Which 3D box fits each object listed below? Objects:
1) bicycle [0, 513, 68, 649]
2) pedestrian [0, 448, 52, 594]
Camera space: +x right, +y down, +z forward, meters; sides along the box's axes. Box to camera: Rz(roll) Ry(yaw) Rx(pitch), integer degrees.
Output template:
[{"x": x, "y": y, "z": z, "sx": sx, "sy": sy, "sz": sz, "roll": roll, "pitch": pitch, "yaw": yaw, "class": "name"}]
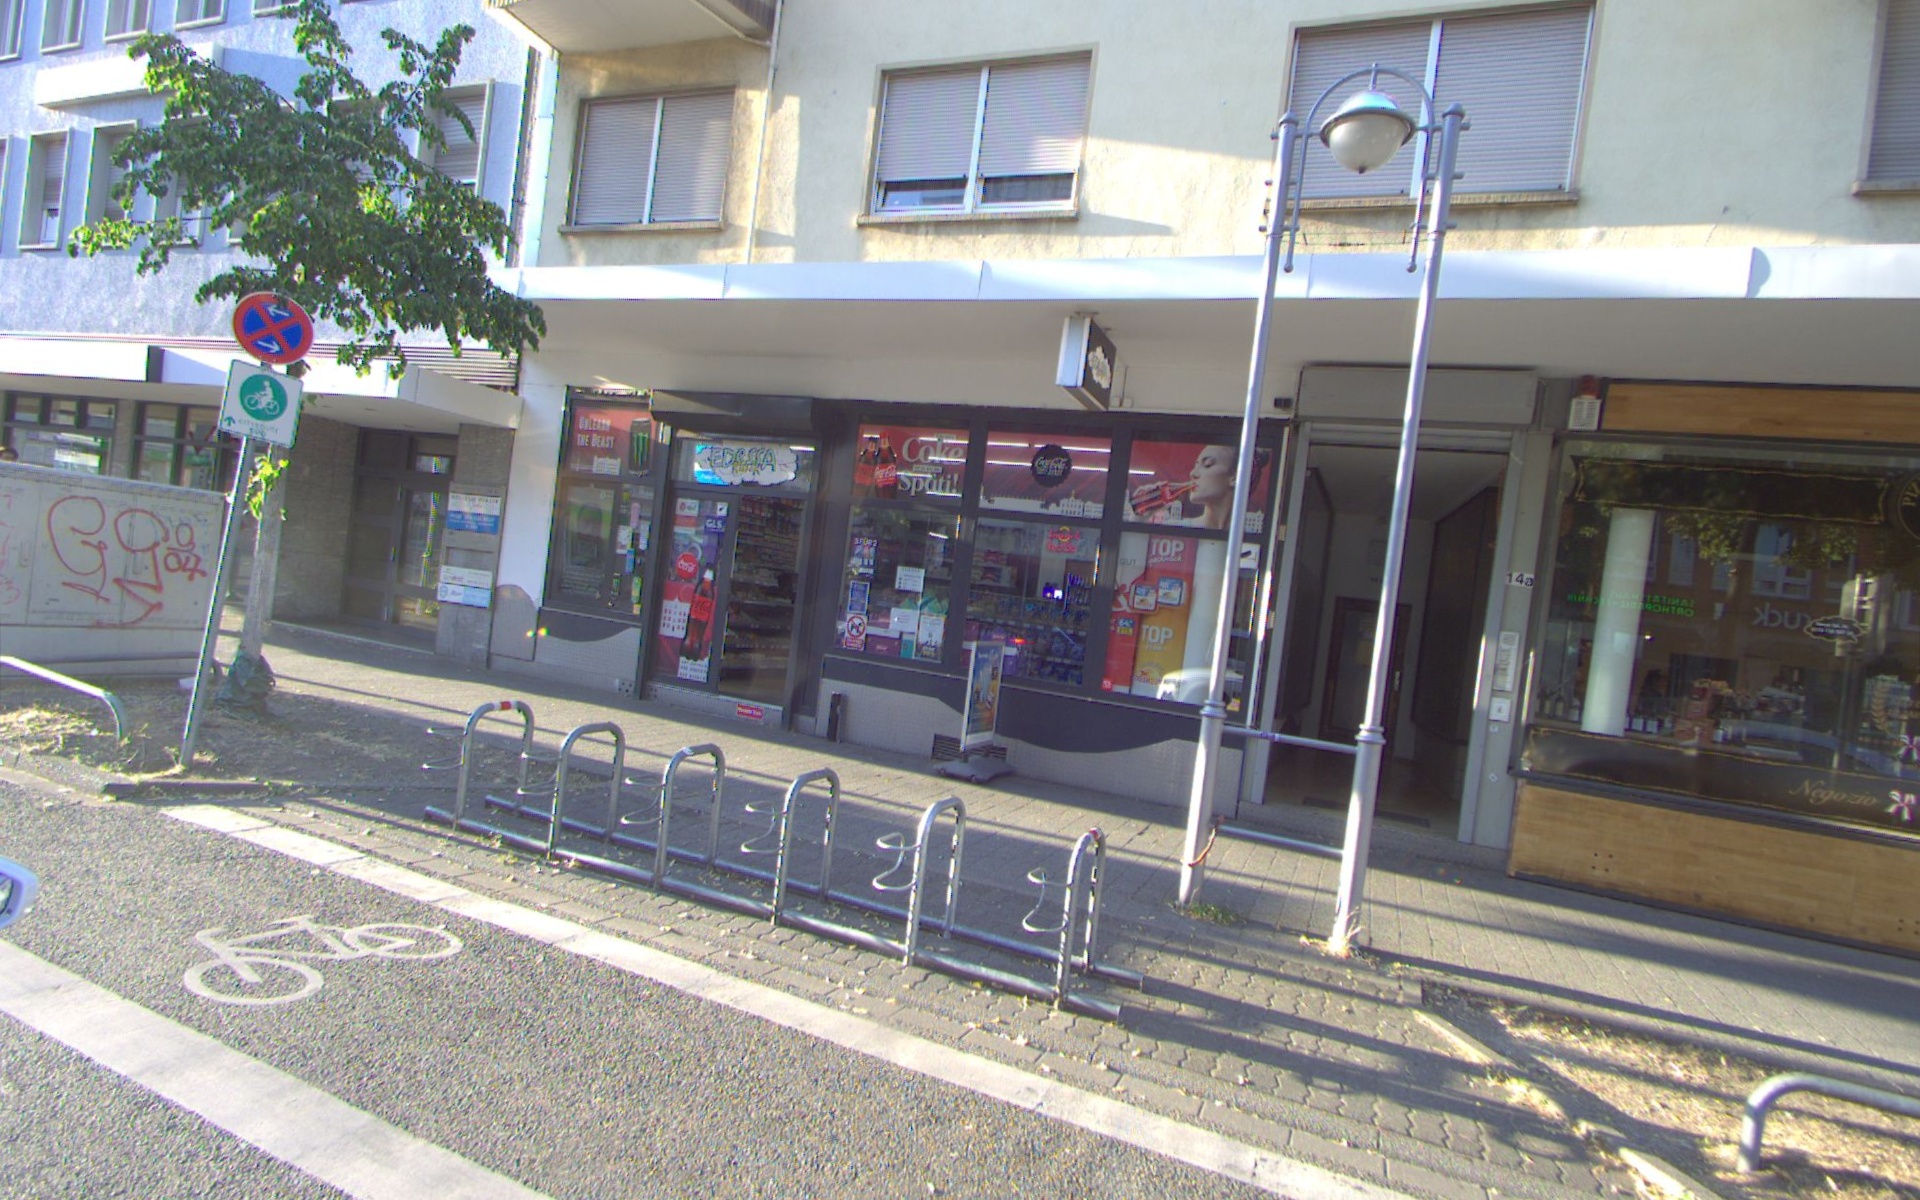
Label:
[{"x": -9.164, "y": -0.228, "z": 9.135, "sx": 0.376, "sy": 1.234, "sz": 1.446, "roll": 7, "pitch": -1, "yaw": 25, "class": "bicycle"}, {"x": -12.737, "y": -1.060, "z": 13.249, "sx": 0.666, "sy": 1.865, "sz": 0.837, "roll": 7, "pitch": 1, "yaw": 24, "class": "pedestrian"}]
